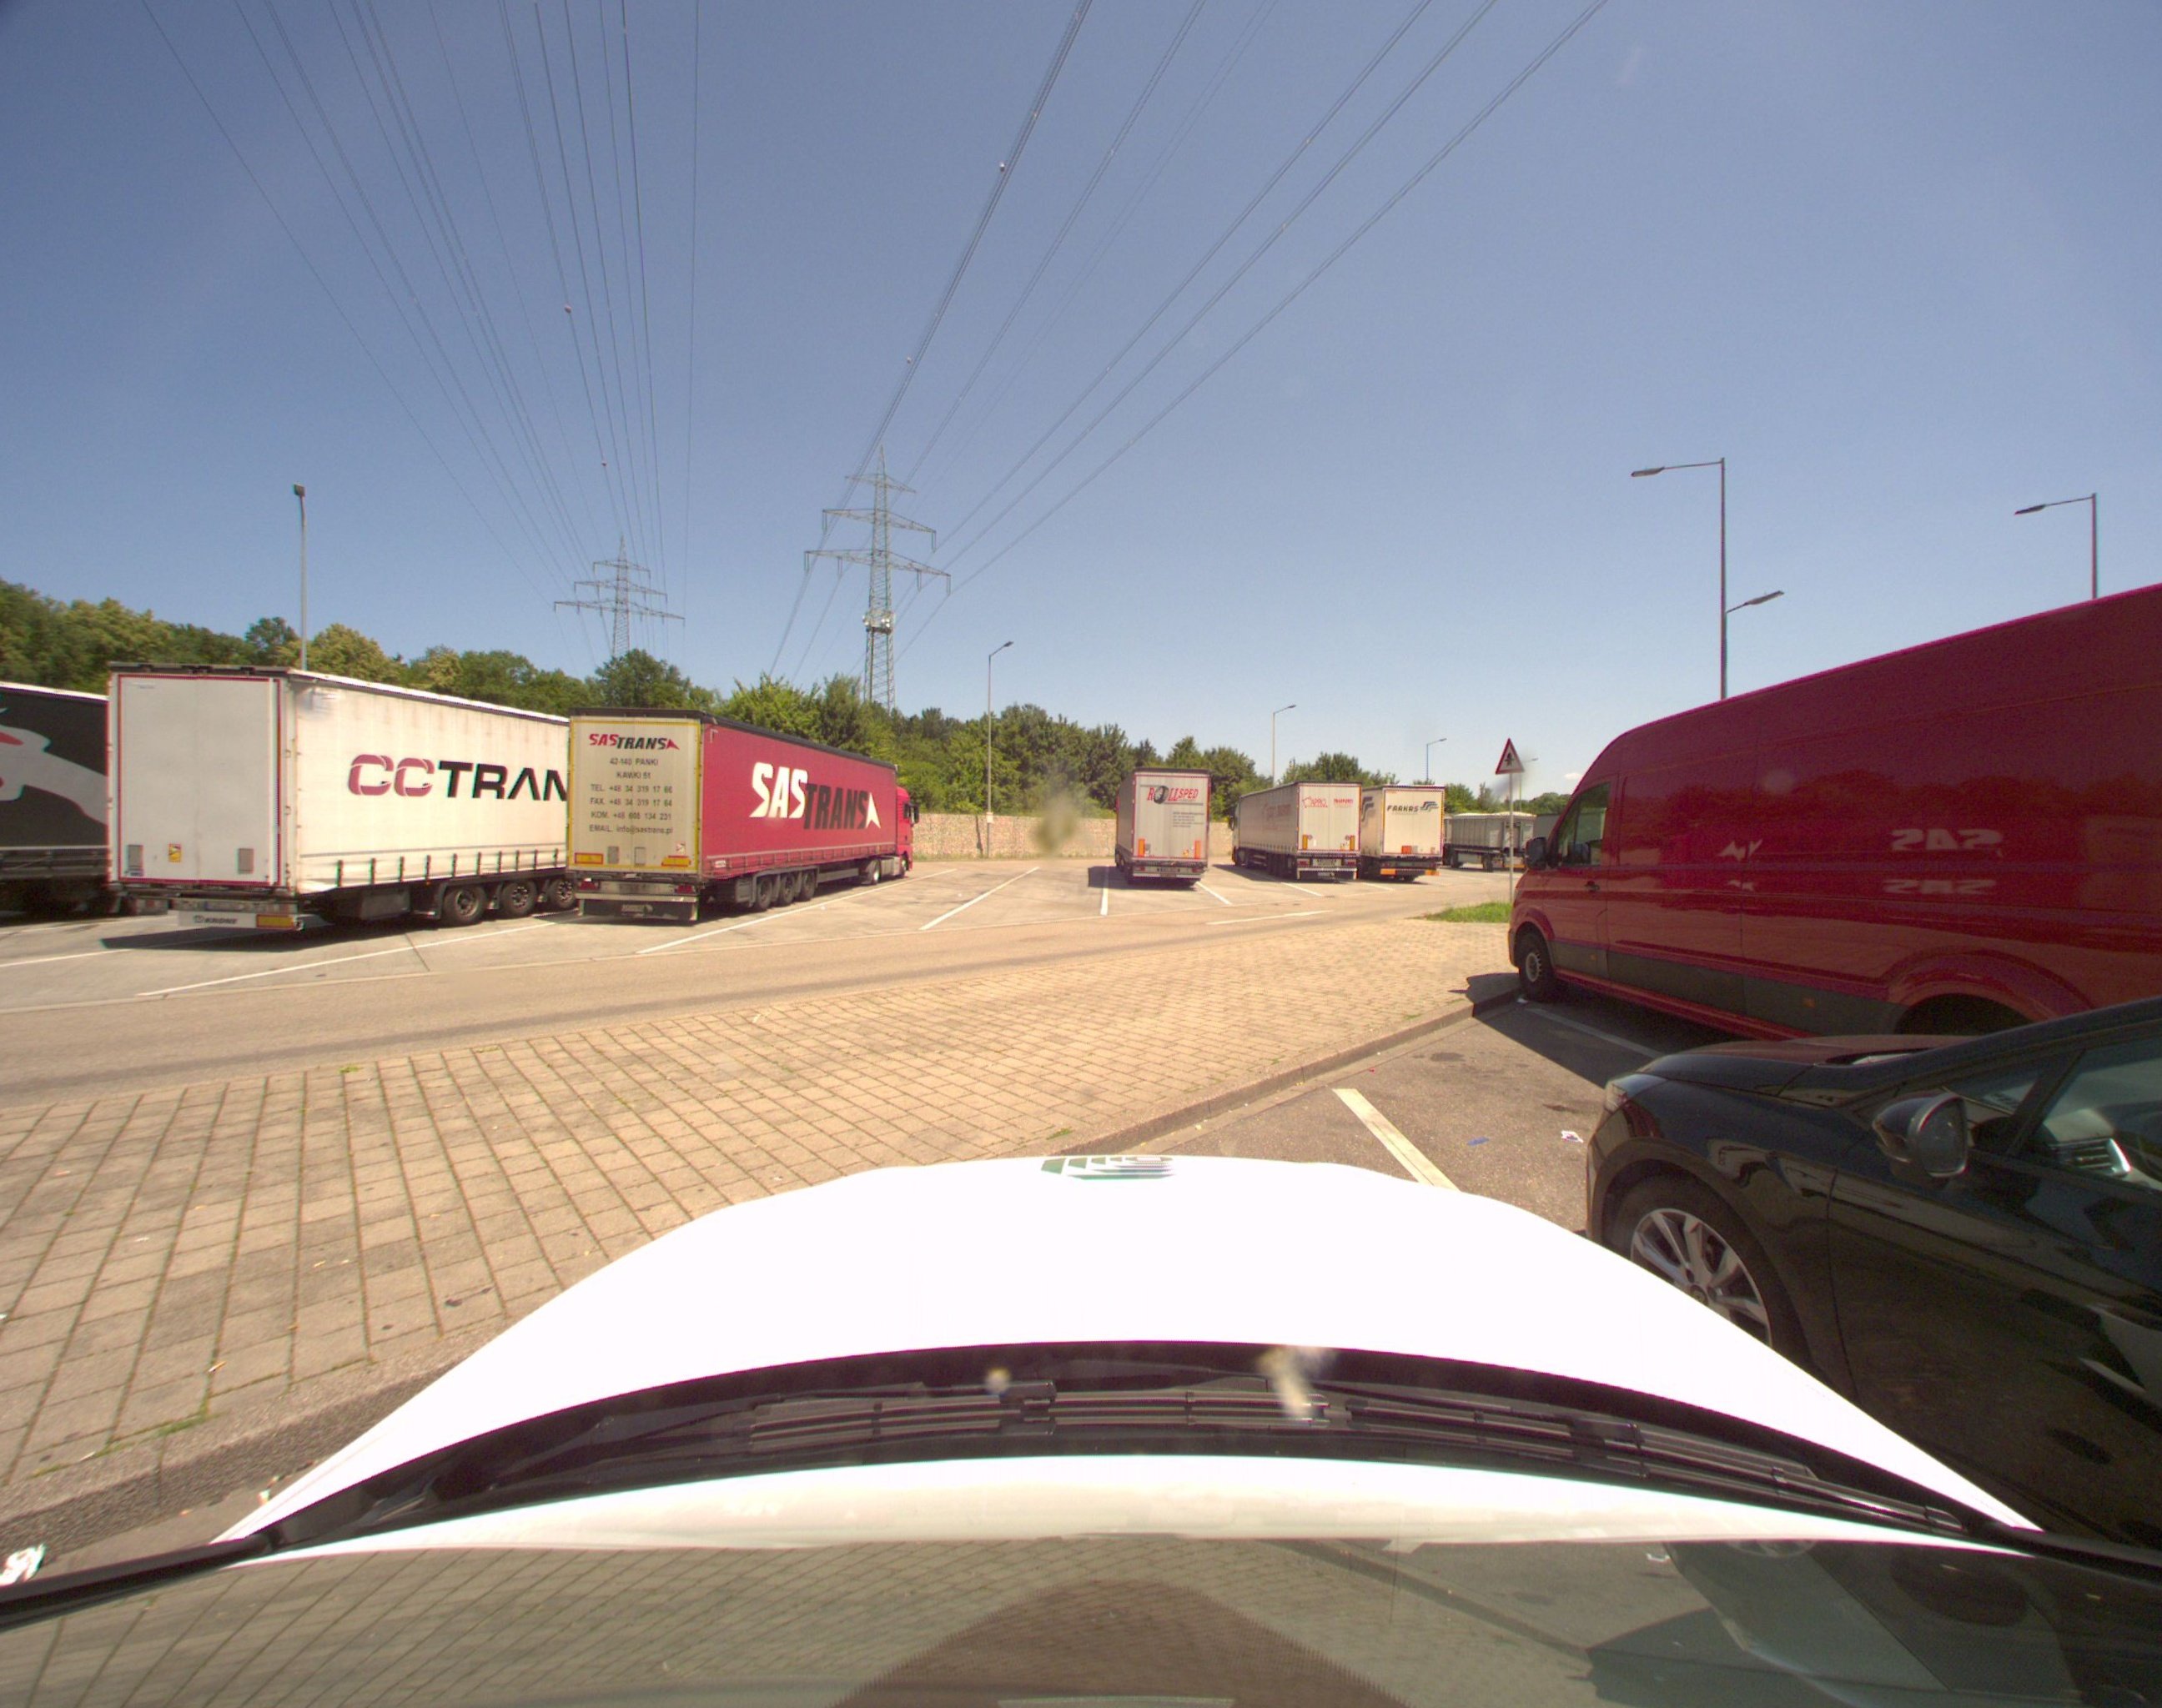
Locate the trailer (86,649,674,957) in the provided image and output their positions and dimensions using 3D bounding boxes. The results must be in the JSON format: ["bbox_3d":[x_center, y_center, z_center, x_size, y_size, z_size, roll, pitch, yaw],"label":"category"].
[{"bbox_3d":[-12.206,-0.886,16.335,2.718,4.209,10.175,1,2,2],"label":"trailer"}]

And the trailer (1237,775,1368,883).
[{"bbox_3d":[9.953,-1.156,38.631,2.828,4.132,13.730,1,2,2],"label":"trailer"}]

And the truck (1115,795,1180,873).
[{"bbox_3d":[3.166,-0.989,39.916,2.841,3.483,5.486,1,1,2],"label":"truck"}]

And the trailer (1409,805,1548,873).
[{"bbox_3d":[24.529,-1.006,51.461,2.826,3.717,13.737,1,2,3],"label":"trailer"}]

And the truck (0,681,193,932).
[{"bbox_3d":[-18.581,-0.797,13.570,2.692,4.016,4.326,1,2,2],"label":"truck"}]

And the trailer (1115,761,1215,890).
[{"bbox_3d":[3.022,-1.103,33.304,2.896,4.132,13.727,1,2,1],"label":"trailer"}]

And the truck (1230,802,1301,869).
[{"bbox_3d":[10.161,-1.031,45.442,2.841,3.483,5.486,1,1,2],"label":"truck"}]

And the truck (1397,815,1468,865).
[{"bbox_3d":[24.917,-1.015,57.960,2.840,3.364,5.488,1,1,3],"label":"truck"}]

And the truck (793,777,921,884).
[{"bbox_3d":[-7.802,-0.833,29.101,2.841,3.427,5.486,1,1,2],"label":"truck"}]

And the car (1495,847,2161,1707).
[{"bbox_3d":[2.518,0.754,1.187,1.733,1.482,3.813,-1,1,-3],"label":"car"}]

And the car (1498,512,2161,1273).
[{"bbox_3d":[5.160,0.086,5.497,2.055,2.695,6.405,-1,1,6],"label":"car"}]

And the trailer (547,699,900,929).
[{"bbox_3d":[-8.041,-0.952,21.664,2.896,4.131,13.731,1,2,2],"label":"trailer"}]

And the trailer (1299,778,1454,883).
[{"bbox_3d":[13.609,-1.124,39.294,2.828,4.132,13.730,1,2,2],"label":"trailer"}]

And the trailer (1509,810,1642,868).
[{"bbox_3d":[38.371,-1.245,64.146,2.826,4.049,13.737,1,2,3],"label":"trailer"}]
